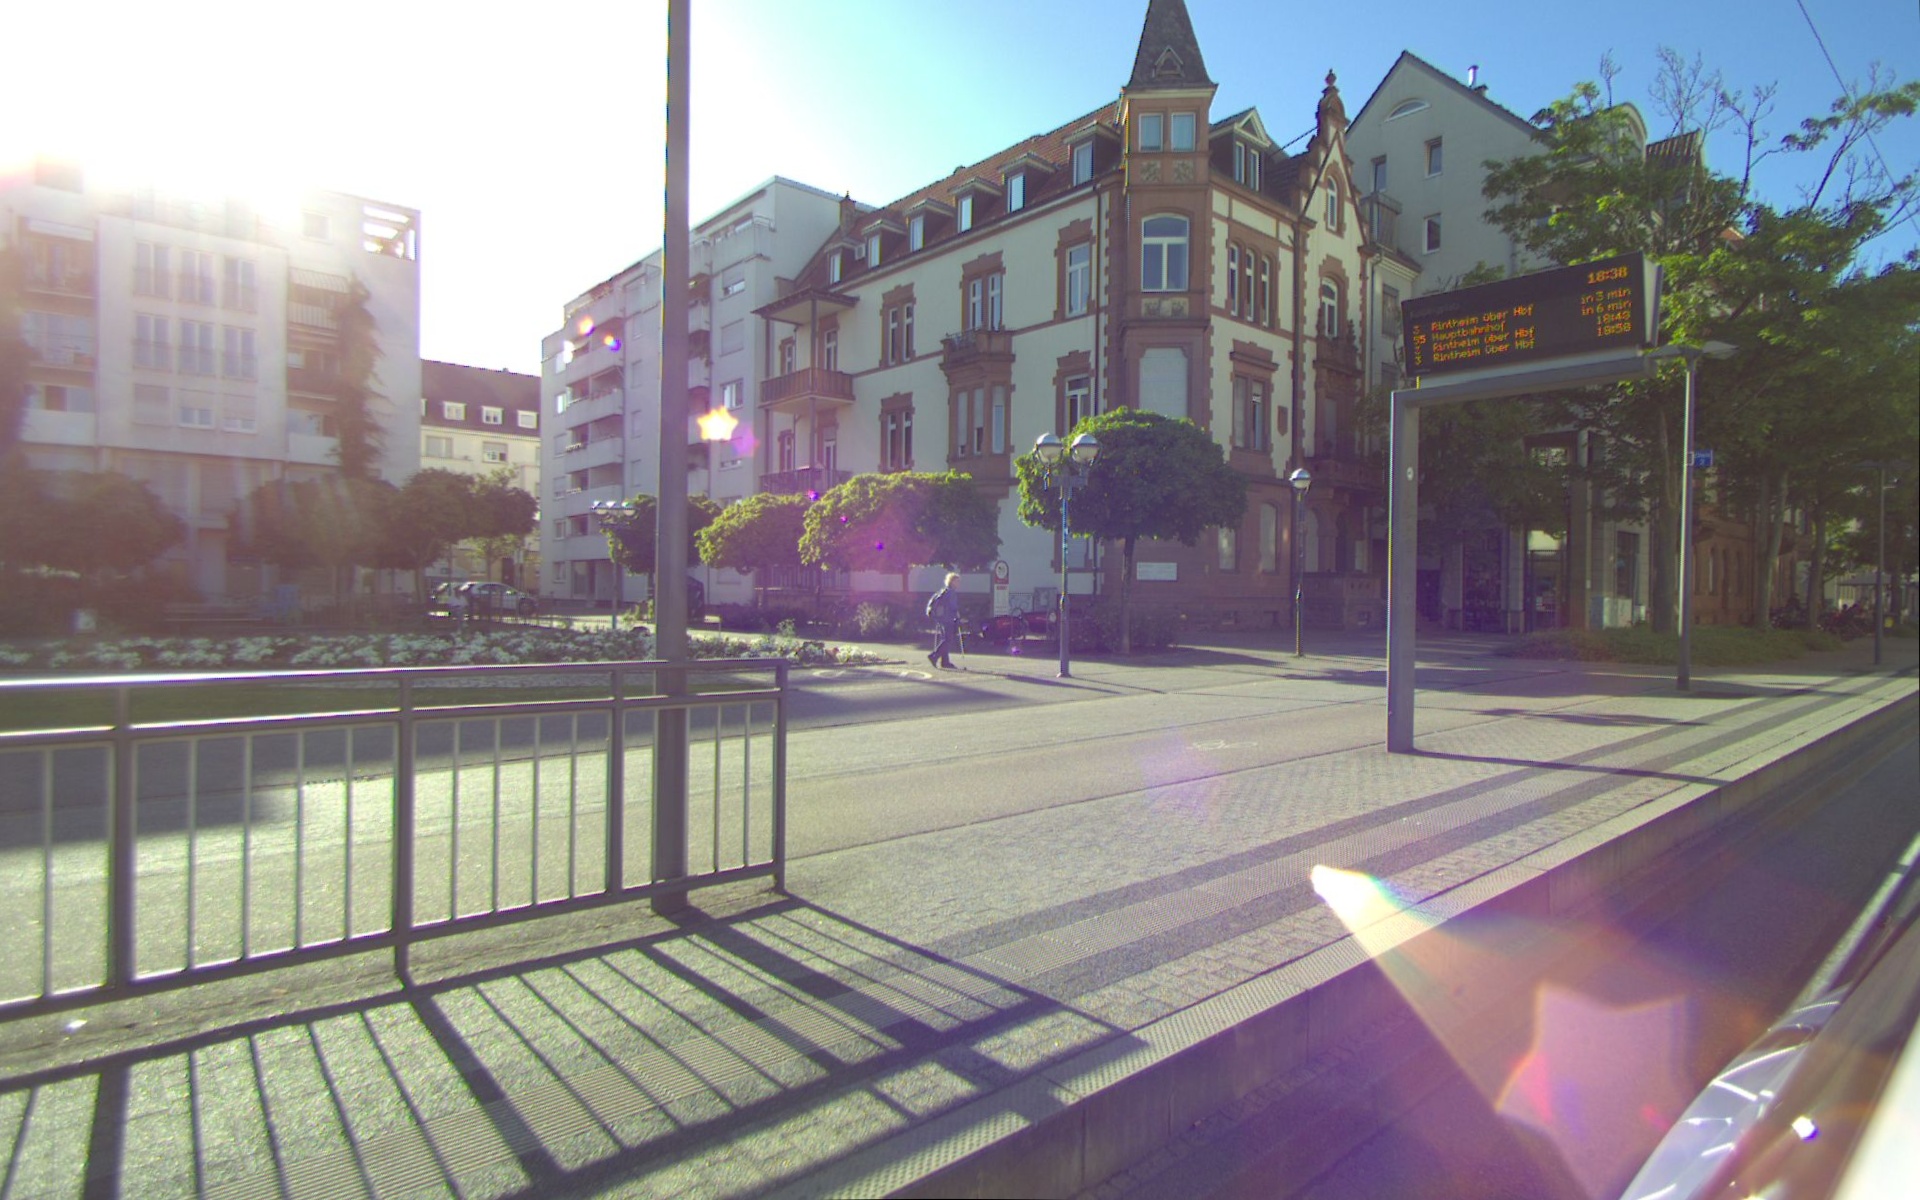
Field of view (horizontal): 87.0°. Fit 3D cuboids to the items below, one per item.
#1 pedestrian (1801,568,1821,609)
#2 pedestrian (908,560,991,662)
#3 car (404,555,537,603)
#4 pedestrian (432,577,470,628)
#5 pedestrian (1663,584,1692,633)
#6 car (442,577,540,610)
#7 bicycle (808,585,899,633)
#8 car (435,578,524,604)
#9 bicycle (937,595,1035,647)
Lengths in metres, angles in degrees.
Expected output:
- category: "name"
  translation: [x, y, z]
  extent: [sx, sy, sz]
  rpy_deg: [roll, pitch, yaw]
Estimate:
- category: "pedestrian"
  translation: [42.293, -0.585, 50.302]
  extent: [0.549, 2.039, 0.654]
  rpy_deg: [0, 0, -38]
- category: "pedestrian"
  translation: [-0.175, 0.173, 17.390]
  extent: [1.064, 1.689, 0.944]
  rpy_deg: [1, 0, 37]
- category: "car"
  translation: [-27.847, -1.171, 57.763]
  extent: [6.292, 2.587, 2.807]
  rpy_deg: [0, 1, -44]
- category: "pedestrian"
  translation: [-14.773, 0.062, 29.346]
  extent: [0.917, 1.429, 1.529]
  rpy_deg: [0, 1, -30]
- category: "pedestrian"
  translation: [26.140, 0.295, 36.880]
  extent: [0.740, 1.757, 0.864]
  rpy_deg: [1, 0, 43]
- category: "car"
  translation: [-22.248, -0.317, 48.033]
  extent: [3.923, 1.536, 2.001]
  rpy_deg: [0, 1, -34]
- category: "bicycle"
  translation: [-3.231, 0.256, 30.909]
  extent: [2.864, 1.389, 0.745]
  rpy_deg: [0, 1, -41]
- category: "car"
  translation: [-24.843, -0.467, 52.344]
  extent: [3.923, 1.304, 2.001]
  rpy_deg: [0, 1, -34]
- category: "bicycle"
  translation: [0.663, 0.459, 24.139]
  extent: [0.786, 1.081, 2.767]
  rpy_deg: [1, 2, 40]
